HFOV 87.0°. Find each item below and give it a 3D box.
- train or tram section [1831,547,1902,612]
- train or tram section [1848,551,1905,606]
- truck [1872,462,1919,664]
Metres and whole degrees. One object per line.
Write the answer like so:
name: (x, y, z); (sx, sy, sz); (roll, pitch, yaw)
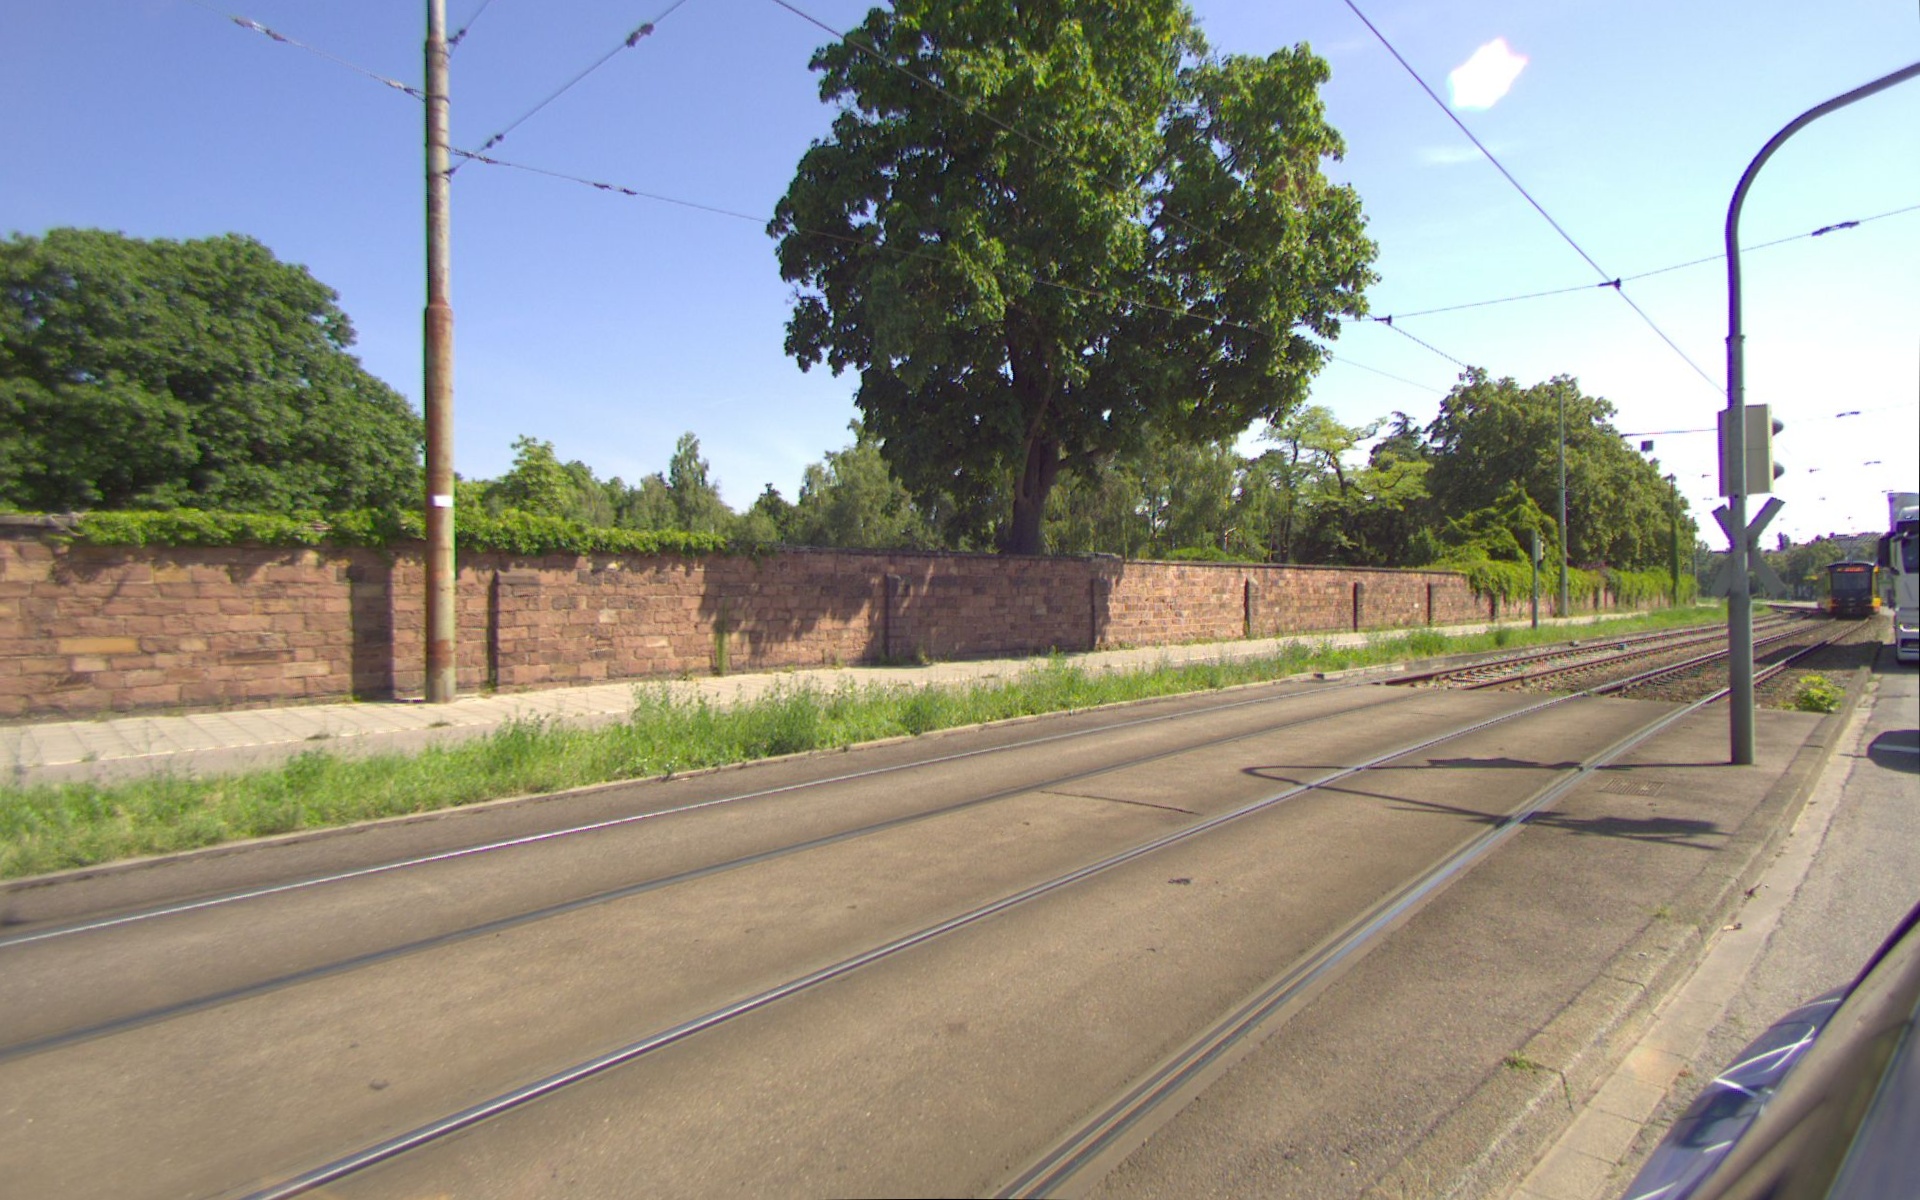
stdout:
train or tram section: (58.087, -1.304, 64.667); (2.669, 3.699, 15.064); (-3, -1, 44)
train or tram section: (69.729, -1.600, 76.805); (2.672, 3.699, 18.661); (-3, -1, 43)
truck: (25.205, -0.902, 25.009); (3.382, 4.121, 14.061); (-3, -1, 44)
